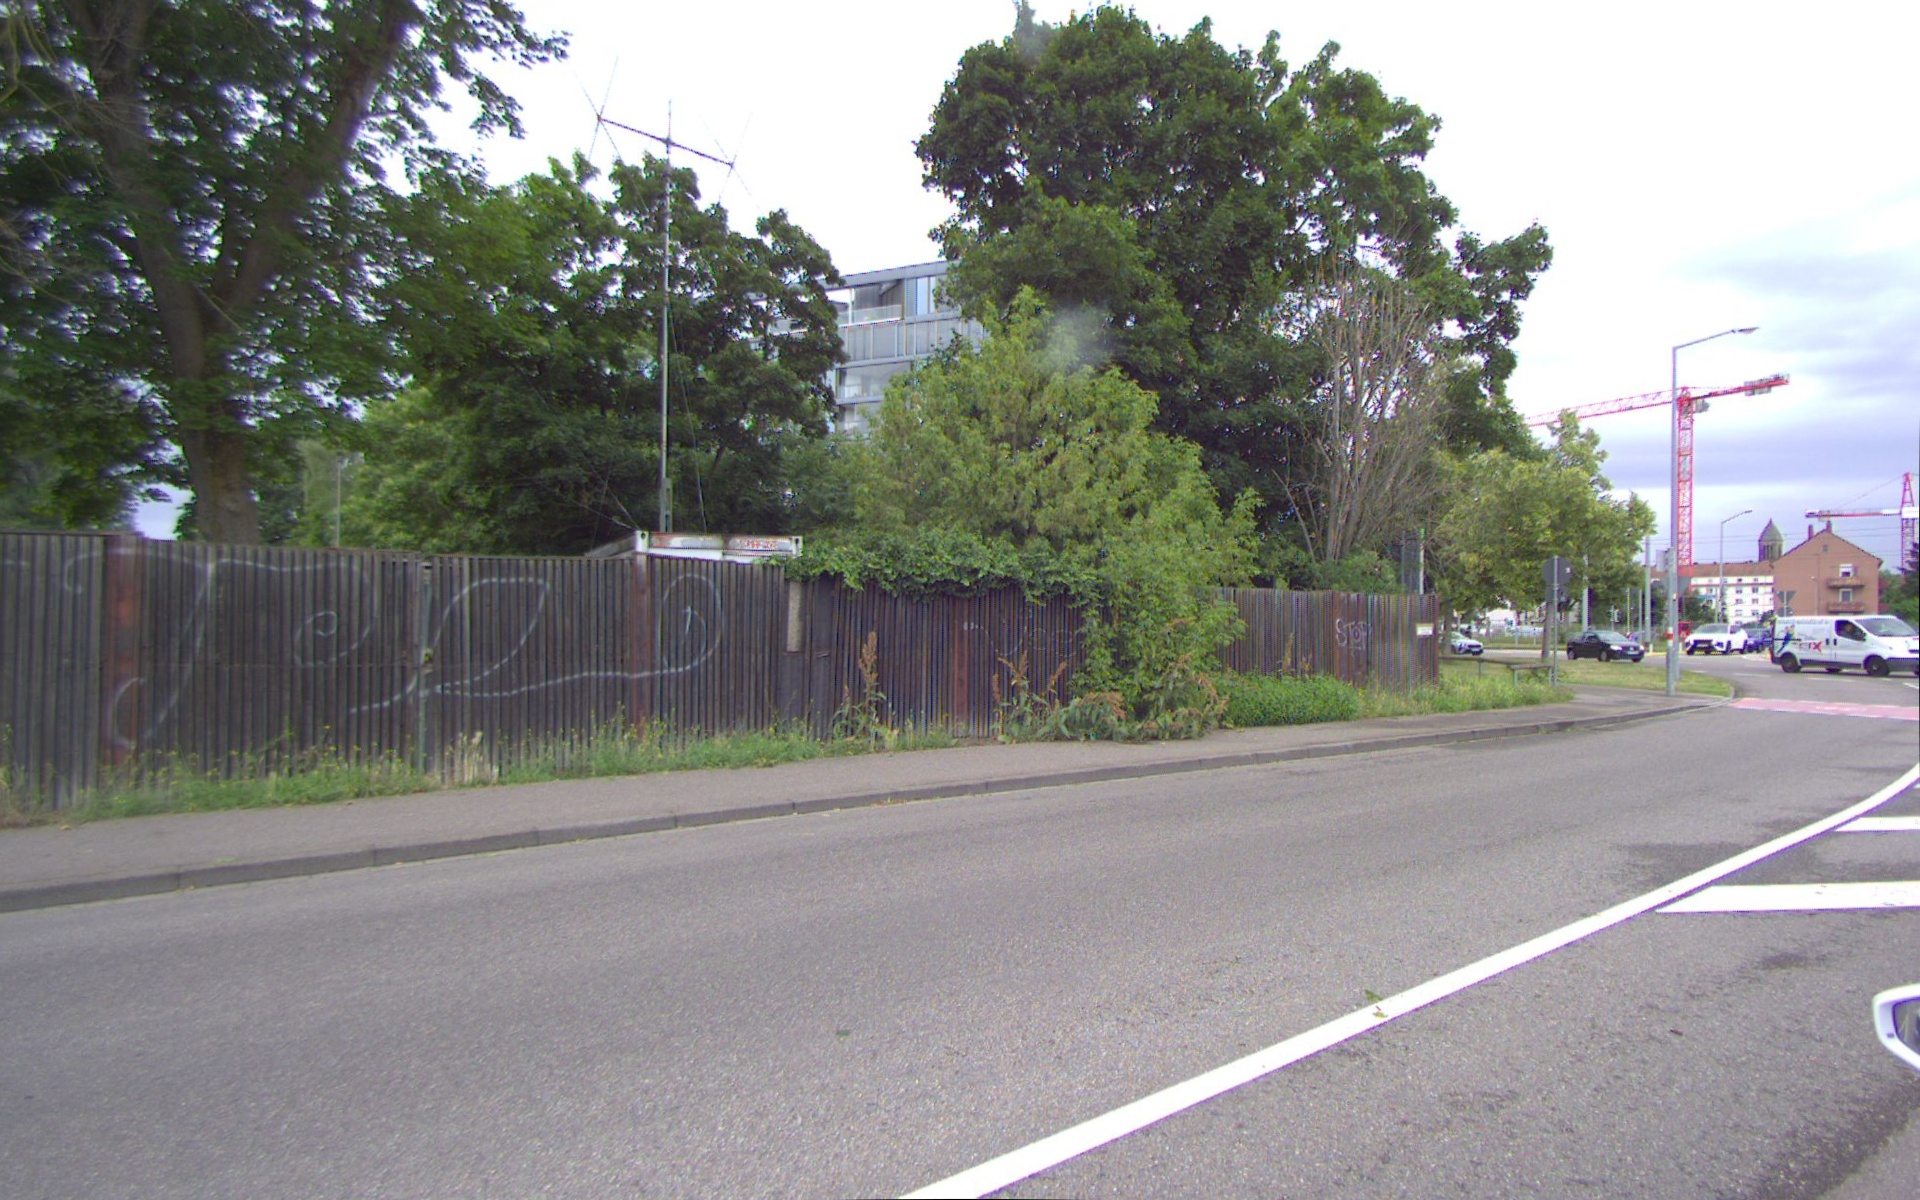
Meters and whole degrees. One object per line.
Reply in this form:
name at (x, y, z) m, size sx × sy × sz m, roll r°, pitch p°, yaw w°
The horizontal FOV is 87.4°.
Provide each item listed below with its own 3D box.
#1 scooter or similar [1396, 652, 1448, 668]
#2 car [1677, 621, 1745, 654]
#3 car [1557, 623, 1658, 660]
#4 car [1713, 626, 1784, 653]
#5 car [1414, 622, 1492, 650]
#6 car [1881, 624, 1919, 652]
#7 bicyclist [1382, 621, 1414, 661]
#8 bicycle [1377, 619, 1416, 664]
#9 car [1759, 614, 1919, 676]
scooter or similar at (16.192, 2.090, 35.239) m, size 0.908 × 0.511 × 1.610 m, roll 1°, pitch -1°, yaw -10°
car at (40.473, 1.985, 54.119) m, size 4.152 × 1.706 × 1.916 m, roll 1°, pitch -1°, yaw -38°
car at (30.202, 1.912, 47.029) m, size 2.057 × 1.624 × 4.442 m, roll 0°, pitch -1°, yaw 4°
car at (45.720, 2.270, 58.255) m, size 3.953 × 1.509 × 1.922 m, roll 1°, pitch -1°, yaw -30°
car at (29.068, 2.101, 59.375) m, size 2.060 × 1.624 × 4.436 m, roll 0°, pitch -1°, yaw -7°
car at (59.006, 2.279, 60.722) m, size 4.580 × 1.656 × 2.001 m, roll 0°, pitch -1°, yaw 6°
bicyclist at (16.063, 1.495, 36.852) m, size 0.604 × 1.420 × 1.063 m, roll 1°, pitch -1°, yaw -10°
bicycle at (16.059, 1.504, 36.964) m, size 0.595 × 1.633 × 1.479 m, roll 1°, pitch -1°, yaw -11°
car at (29.910, 1.473, 33.773) m, size 2.058 × 1.925 × 4.847 m, roll 0°, pitch -1°, yaw -3°
